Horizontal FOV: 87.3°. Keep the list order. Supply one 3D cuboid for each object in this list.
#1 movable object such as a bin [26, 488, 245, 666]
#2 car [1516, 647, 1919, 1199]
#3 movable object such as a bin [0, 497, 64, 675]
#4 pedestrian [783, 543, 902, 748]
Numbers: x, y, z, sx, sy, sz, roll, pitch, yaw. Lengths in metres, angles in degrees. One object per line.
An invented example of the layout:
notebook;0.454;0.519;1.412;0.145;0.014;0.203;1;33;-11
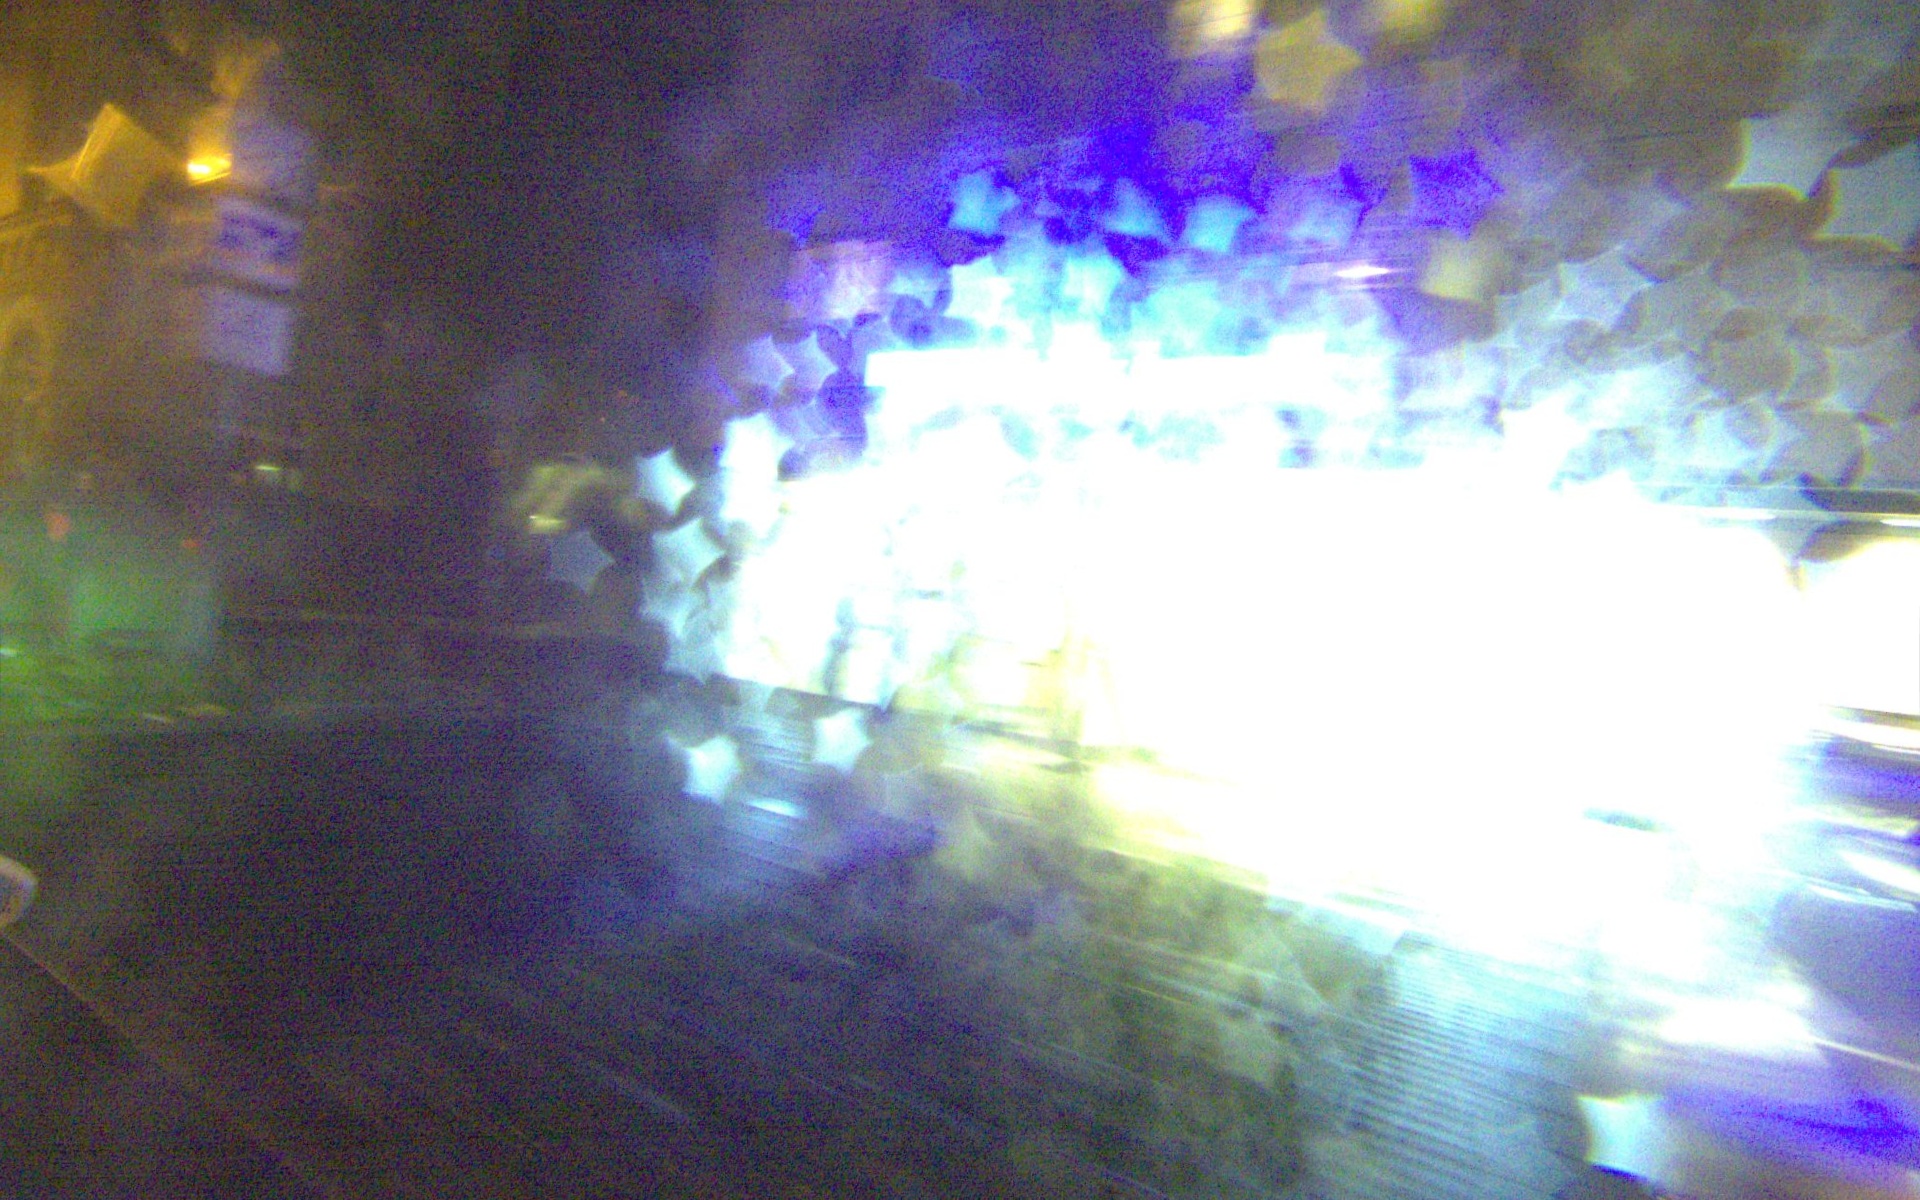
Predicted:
movable object such as a bin;-7.687;-0.201;9.399;1.035;1.446;1.308;7;-1;41
car;2.503;1.006;2.547;1.750;1.551;4.514;7;2;31
movable object such as a bin;-8.350;-0.183;7.958;1.180;1.446;1.341;7;-1;-4
pedestrian;-1.111;0.426;9.542;0.614;1.811;0.703;8;2;35
